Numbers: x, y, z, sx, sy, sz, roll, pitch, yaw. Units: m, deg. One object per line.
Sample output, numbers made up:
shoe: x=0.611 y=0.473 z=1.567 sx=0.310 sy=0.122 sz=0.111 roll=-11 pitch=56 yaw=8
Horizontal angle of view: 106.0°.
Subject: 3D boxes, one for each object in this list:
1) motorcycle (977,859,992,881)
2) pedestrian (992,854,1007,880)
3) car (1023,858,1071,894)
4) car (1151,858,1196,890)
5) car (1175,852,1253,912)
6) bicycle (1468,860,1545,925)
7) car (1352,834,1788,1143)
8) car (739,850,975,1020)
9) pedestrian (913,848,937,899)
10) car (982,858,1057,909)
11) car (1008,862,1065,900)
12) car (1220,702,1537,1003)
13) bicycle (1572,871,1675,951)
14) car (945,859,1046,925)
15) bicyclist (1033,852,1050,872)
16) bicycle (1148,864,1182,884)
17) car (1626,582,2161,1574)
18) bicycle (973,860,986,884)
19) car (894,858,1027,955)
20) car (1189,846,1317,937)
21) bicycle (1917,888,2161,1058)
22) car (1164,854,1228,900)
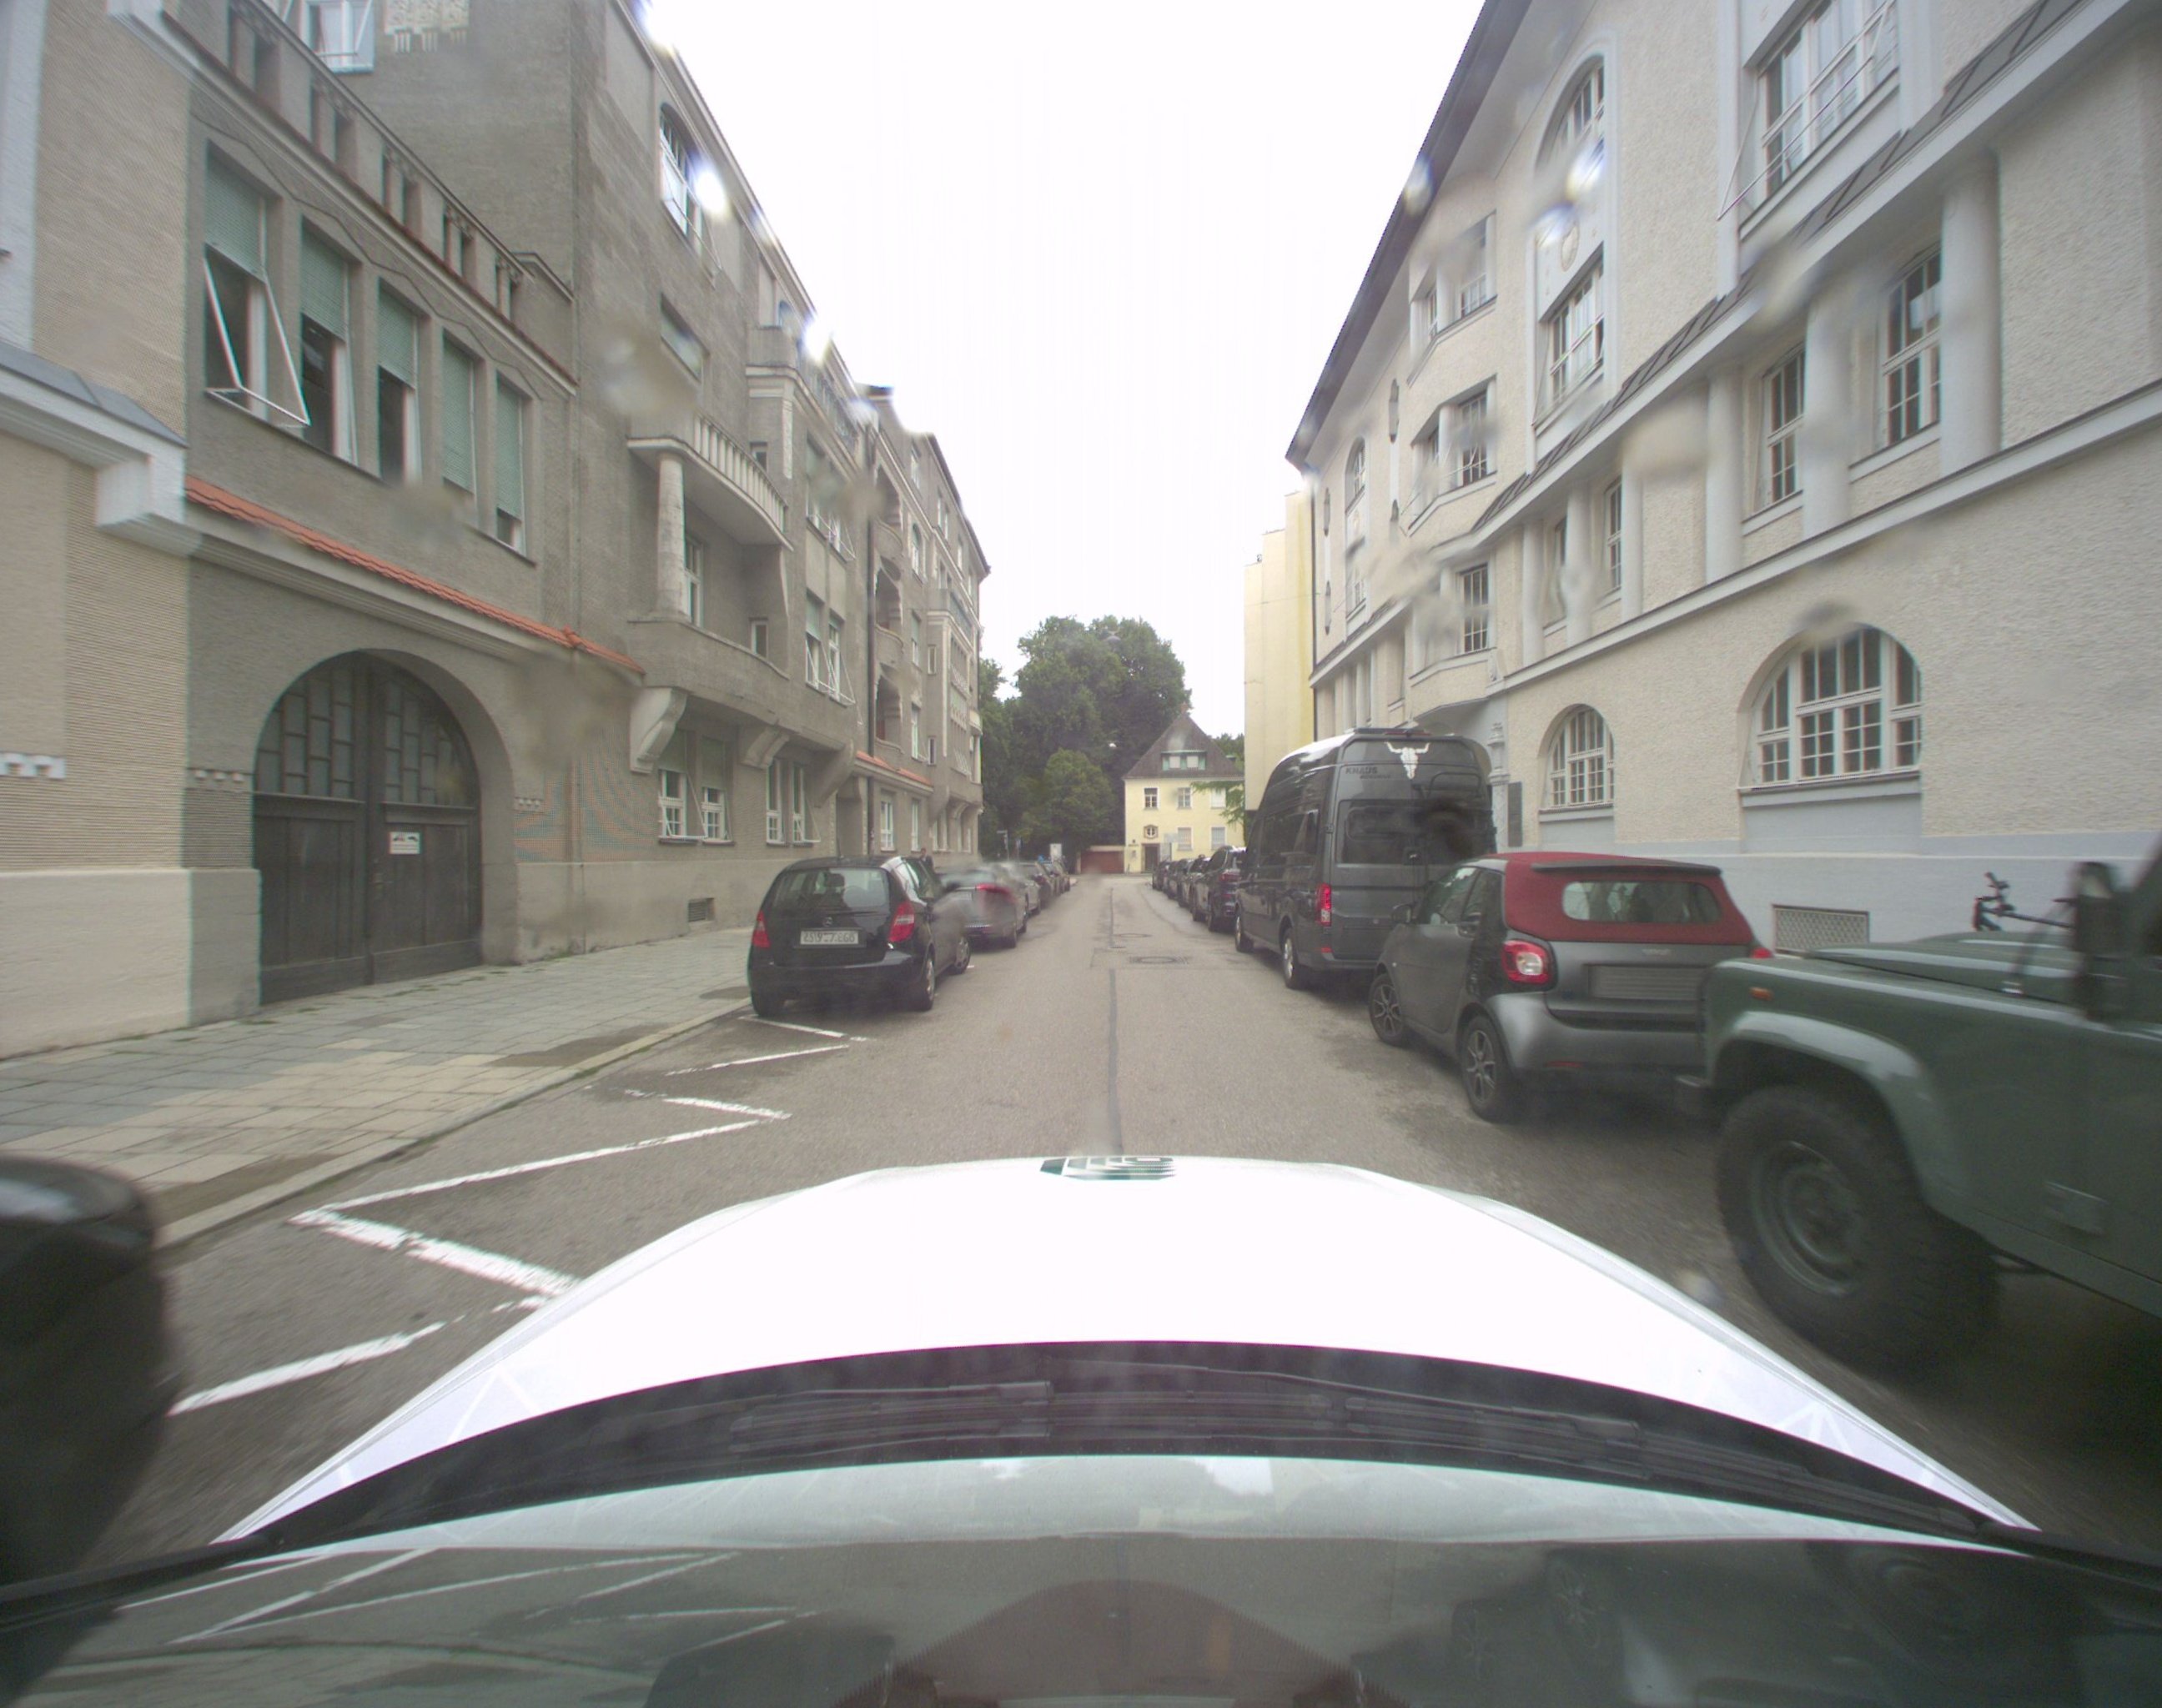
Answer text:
motorcycle: x=-6.280 y=1.019 z=53.205 sx=0.733 sy=1.441 sz=2.147 roll=0 pitch=0 yaw=1
pedestrian: x=-5.560 y=0.881 z=55.709 sx=0.835 sy=1.787 sz=0.937 roll=0 pitch=-1 yaw=4
car: x=-1.481 y=0.979 z=37.367 sx=1.748 sy=1.515 sz=4.711 roll=-1 pitch=0 yaw=3
car: x=4.454 y=0.930 z=39.789 sx=1.687 sy=1.471 sz=4.610 roll=0 pitch=0 yaw=0
car: x=3.800 y=0.756 z=23.857 sx=1.629 sy=1.592 sz=3.967 roll=0 pitch=0 yaw=0
bicycle: x=8.135 y=0.697 z=15.661 sx=0.480 sy=1.150 sz=1.788 roll=-3 pitch=0 yaw=0
car: x=3.056 y=0.715 z=5.740 sx=1.535 sy=1.626 sz=2.818 roll=0 pitch=0 yaw=4
car: x=-2.327 y=0.759 z=9.503 sx=1.798 sy=1.572 sz=3.811 roll=0 pitch=0 yaw=-2
pedestrian: x=-5.639 y=0.701 z=29.437 sx=0.714 sy=1.817 sz=0.731 roll=0 pitch=-1 yaw=1
car: x=-1.870 y=0.880 z=26.229 sx=1.987 sy=1.448 sz=4.779 roll=-1 pitch=0 yaw=0
car: x=-1.646 y=0.988 z=31.572 sx=1.748 sy=1.331 sz=4.099 roll=-1 pitch=0 yaw=3
car: x=3.474 y=0.034 z=11.136 sx=2.246 sy=2.960 sz=6.134 roll=1 pitch=-1 yaw=2
bicycle: x=8.115 y=0.817 z=12.274 sx=0.387 sy=1.069 sz=1.789 roll=-2 pitch=0 yaw=2
car: x=-2.051 y=0.874 z=20.817 sx=1.798 sy=1.431 sz=4.443 roll=-2 pitch=0 yaw=3
bicyclist: x=-3.226 y=0.654 z=65.983 sx=1.115 sy=1.651 sz=0.991 roll=0 pitch=-1 yaw=16
bicycle: x=4.821 y=1.178 z=46.924 sx=1.774 sy=1.085 sz=0.670 roll=-2 pitch=1 yaw=29
car: x=3.102 y=0.459 z=1.356 sx=1.788 sy=2.039 sz=4.073 roll=0 pitch=0 yaw=2
bicycle: x=-5.840 y=1.024 z=46.816 sx=0.617 sy=1.349 sz=1.674 roll=0 pitch=0 yaw=-2
car: x=-2.040 y=0.828 z=15.129 sx=1.831 sy=1.513 sz=4.606 roll=0 pitch=0 yaw=-1
car: x=3.545 y=0.705 z=17.657 sx=1.985 sy=1.689 sz=4.677 roll=1 pitch=0 yaw=3
bicycle: x=7.697 y=0.843 z=6.280 sx=0.649 sy=1.069 sz=1.789 roll=-3 pitch=0 yaw=2
car: x=4.062 y=0.783 z=29.307 sx=1.630 sy=1.537 sz=3.852 roll=0 pitch=0 yaw=-2
